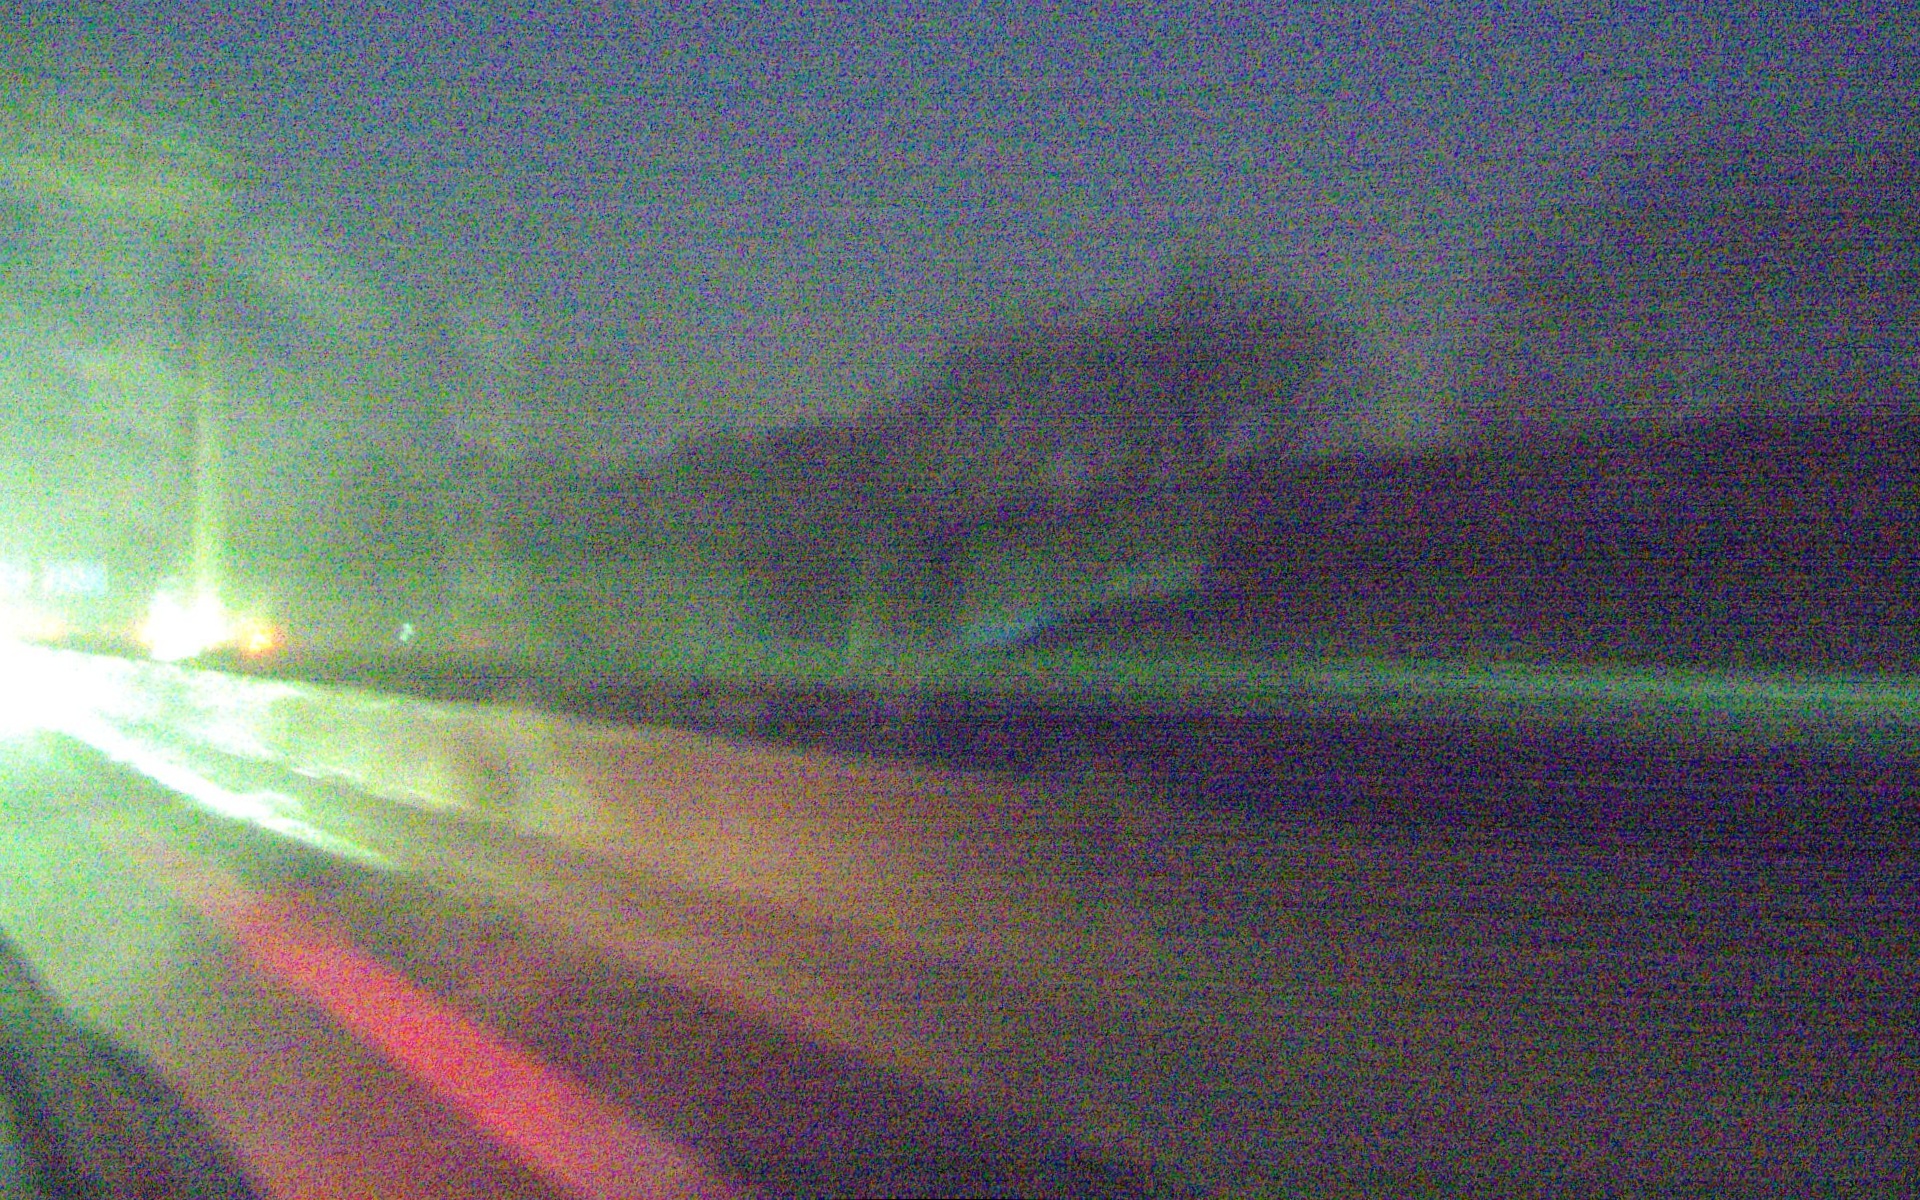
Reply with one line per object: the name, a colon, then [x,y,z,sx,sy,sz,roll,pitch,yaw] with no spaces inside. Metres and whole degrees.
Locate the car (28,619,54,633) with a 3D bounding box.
car: [-116.229,3.306,127.946,4.244,1.727,1.972,-1,-2,41]

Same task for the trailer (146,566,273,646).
trailer: [-45.880,0.348,61.534,14.856,4.299,2.943,0,3,41]

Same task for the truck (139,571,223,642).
truck: [-50.600,0.389,65.666,6.501,4.299,2.943,-1,3,41]
